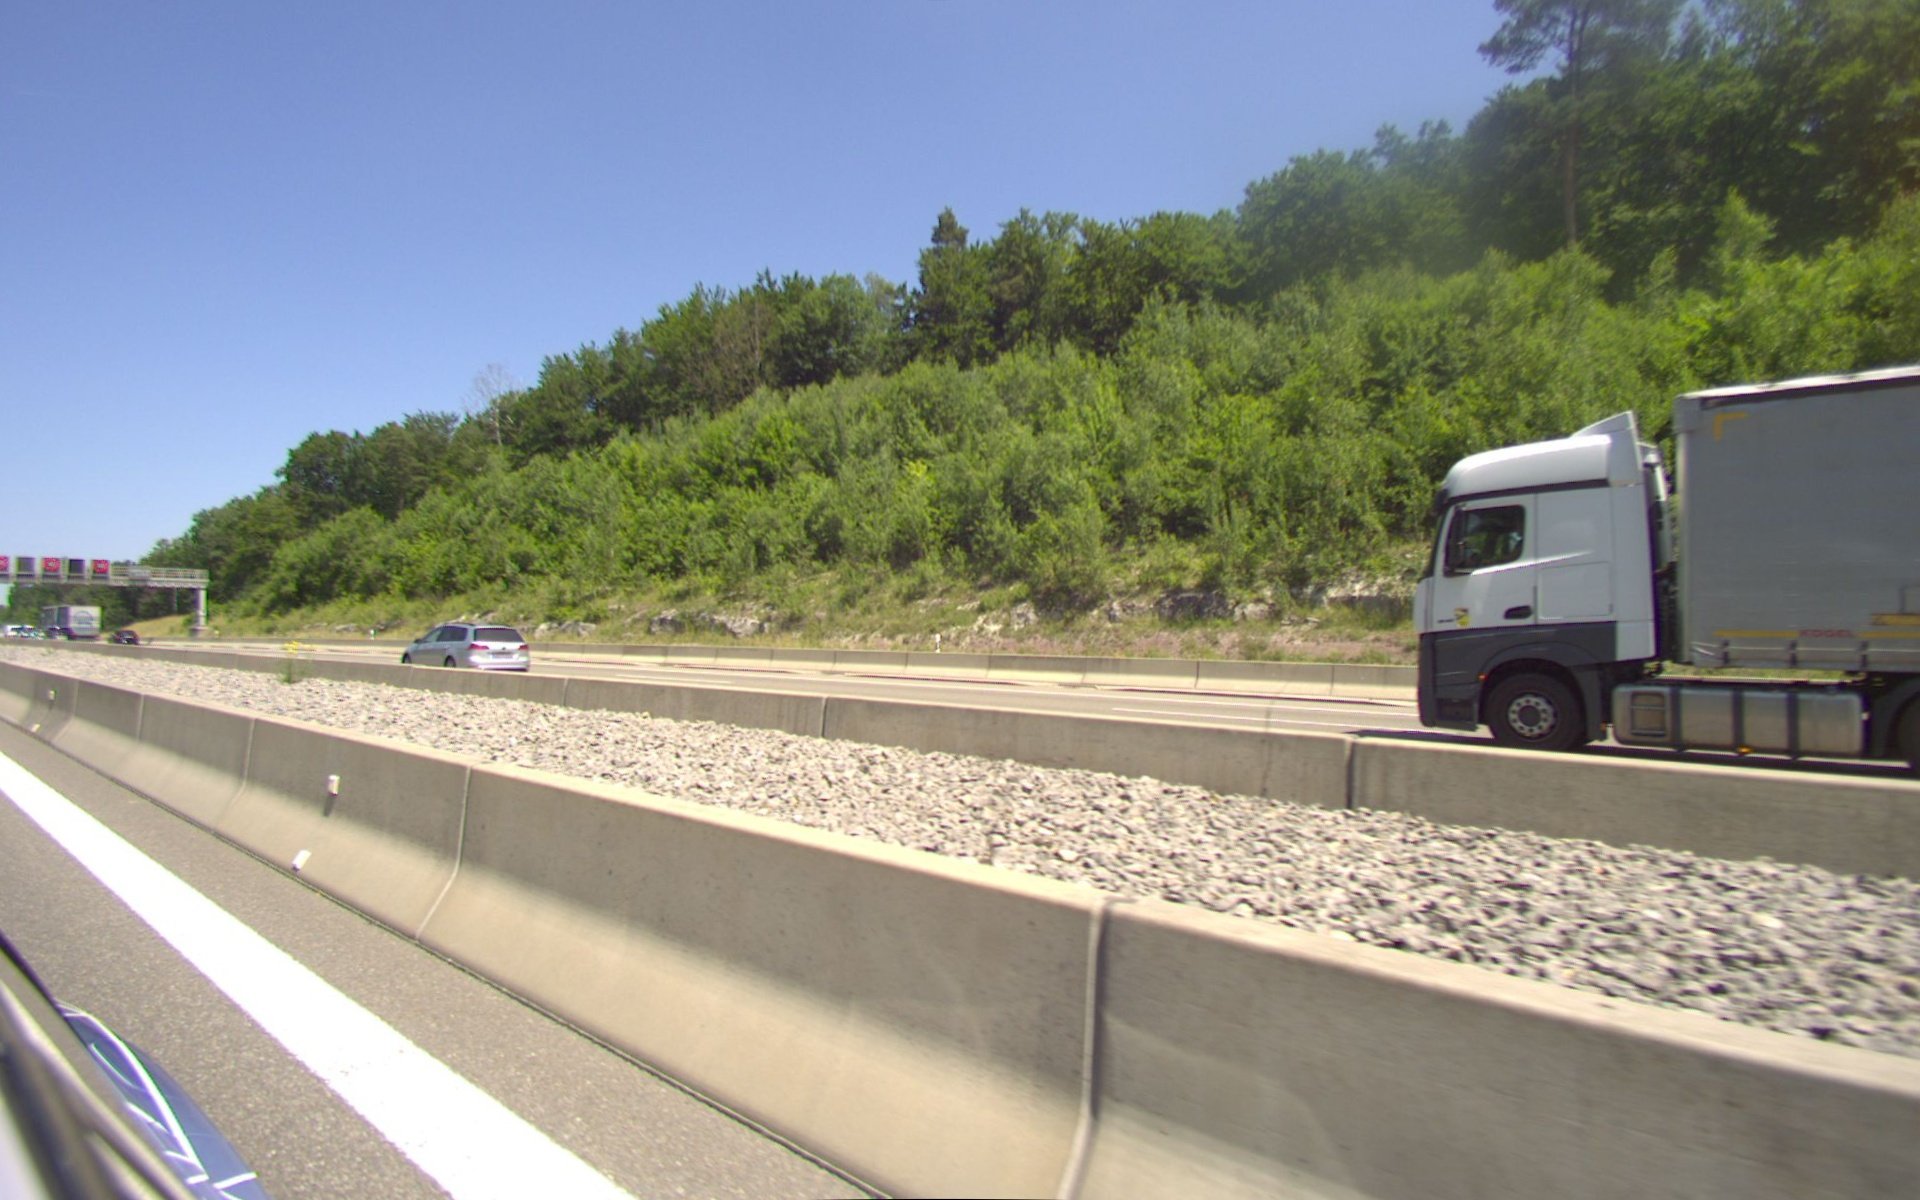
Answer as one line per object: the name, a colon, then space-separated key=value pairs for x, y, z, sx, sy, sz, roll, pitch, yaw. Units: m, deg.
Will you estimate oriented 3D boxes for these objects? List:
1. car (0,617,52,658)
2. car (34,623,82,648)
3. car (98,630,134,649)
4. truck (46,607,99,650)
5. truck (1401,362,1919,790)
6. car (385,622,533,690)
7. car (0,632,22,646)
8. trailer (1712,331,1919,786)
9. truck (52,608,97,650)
car: x=-50.262 y=1.972 z=54.019 sx=5.400 sy=2.068 sz=1.973 roll=-1 pitch=-2 yaw=41
car: x=-60.118 y=2.352 z=67.413 sx=4.906 sy=1.524 sz=1.885 roll=-1 pitch=0 yaw=42
car: x=-75.283 y=3.498 z=90.293 sx=4.159 sy=1.667 sz=1.885 roll=-1 pitch=-2 yaw=42
truck: x=-92.807 y=2.987 z=105.774 sx=9.859 sy=4.261 sz=2.881 roll=-1 pitch=-2 yaw=42
truck: x=9.097 y=-0.174 z=11.556 sx=6.794 sy=4.013 sz=3.231 roll=-1 pitch=-2 yaw=41
car: x=-12.855 y=1.364 z=25.818 sx=5.059 sy=1.560 sz=1.661 roll=-1 pitch=-2 yaw=42
car: x=-99.577 y=4.046 z=105.886 sx=3.869 sy=1.393 sz=1.721 roll=-1 pitch=-2 yaw=41
trailer: x=14.083 y=-0.428 z=7.175 sx=13.832 sy=4.286 sz=3.068 roll=-1 pitch=-3 yaw=41
truck: x=-92.202 y=3.018 z=105.340 sx=8.413 sy=4.261 sz=2.630 roll=-2 pitch=-2 yaw=43
